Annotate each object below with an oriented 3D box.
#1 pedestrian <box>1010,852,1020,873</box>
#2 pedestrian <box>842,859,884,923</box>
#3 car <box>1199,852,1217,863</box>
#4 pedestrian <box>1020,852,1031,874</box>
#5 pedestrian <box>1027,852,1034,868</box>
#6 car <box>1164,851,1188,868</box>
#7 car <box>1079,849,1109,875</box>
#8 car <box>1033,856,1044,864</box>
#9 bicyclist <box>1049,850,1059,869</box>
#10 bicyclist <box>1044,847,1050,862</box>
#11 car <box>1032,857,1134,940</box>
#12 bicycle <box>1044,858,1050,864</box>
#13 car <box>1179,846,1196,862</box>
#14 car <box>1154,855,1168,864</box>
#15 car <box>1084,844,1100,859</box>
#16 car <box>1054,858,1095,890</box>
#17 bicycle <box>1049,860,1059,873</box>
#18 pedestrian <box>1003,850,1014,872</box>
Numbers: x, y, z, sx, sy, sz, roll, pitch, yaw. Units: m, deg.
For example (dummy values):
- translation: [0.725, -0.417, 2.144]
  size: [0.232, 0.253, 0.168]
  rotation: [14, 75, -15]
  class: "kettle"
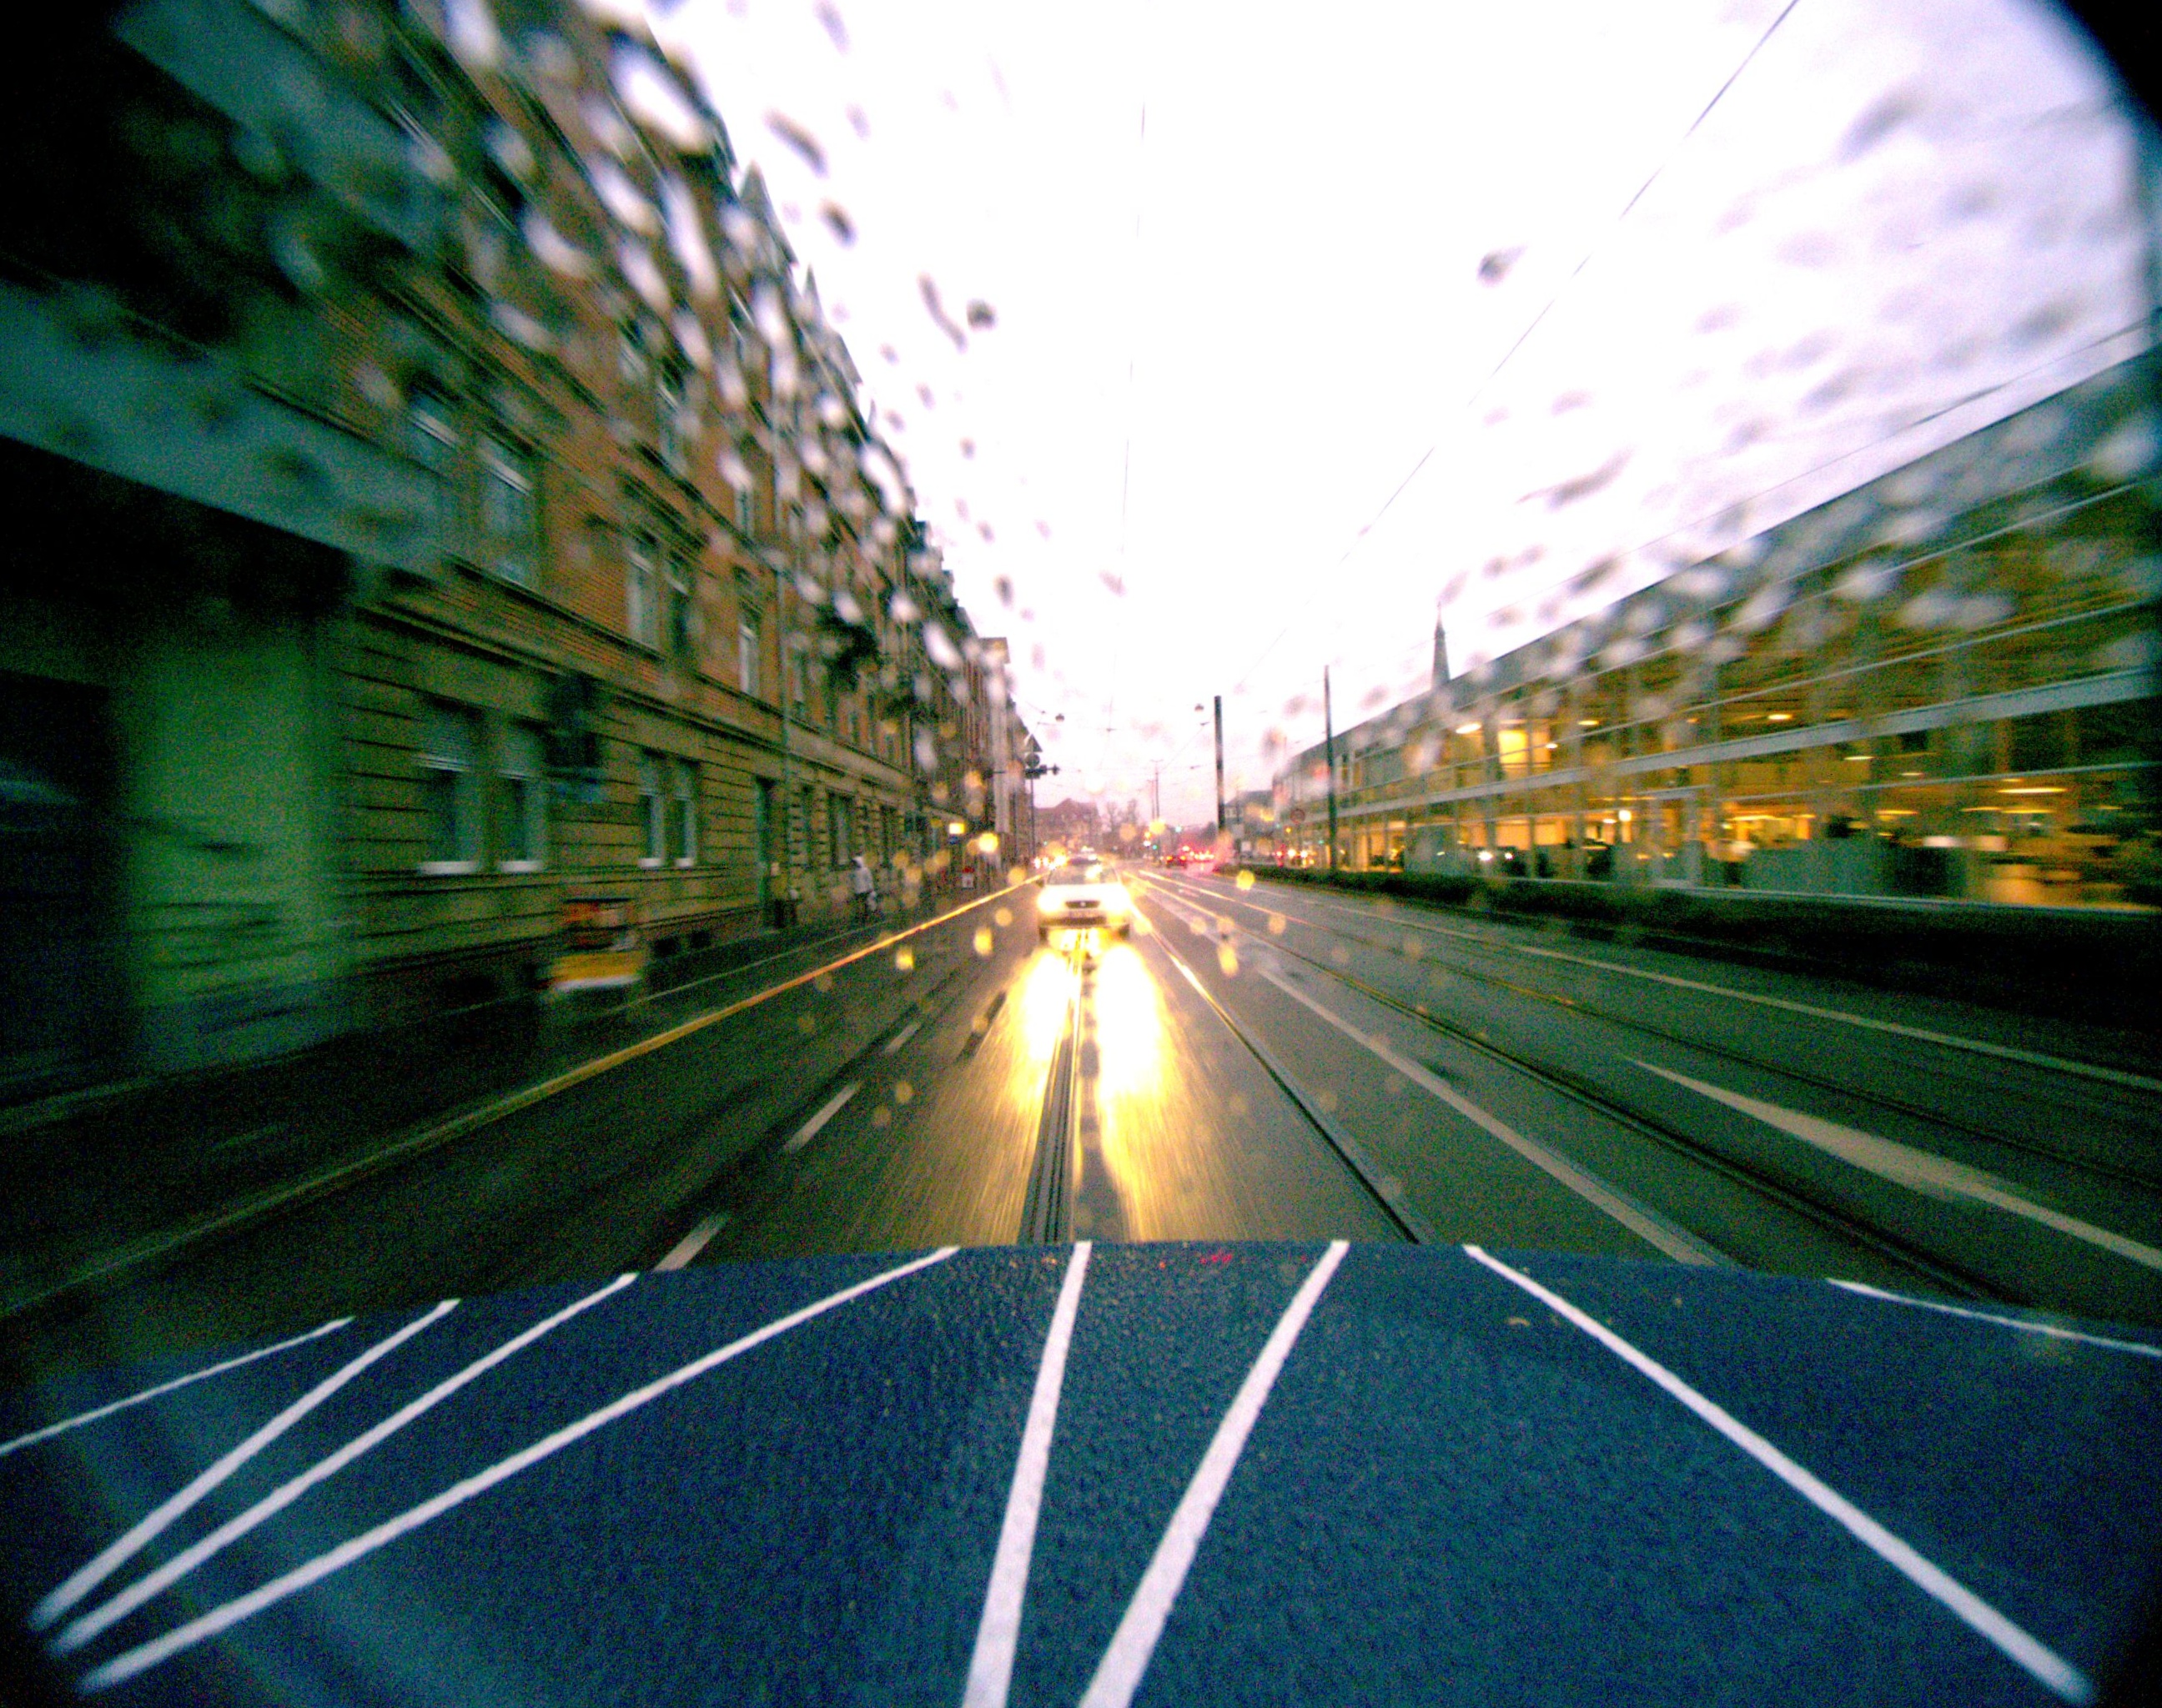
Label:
- translation: [-5.530, 0.741, 63.524]
  size: [0.777, 1.734, 0.673]
  rotation: [-1, 1, 1]
  class: "pedestrian"
- translation: [-5.614, 0.931, 19.593]
  size: [0.788, 1.588, 0.742]
  rotation: [-2, 1, 4]
  class: "pedestrian"
- translation: [17.906, 0.490, 107.039]
  size: [1.998, 1.413, 4.588]
  rotation: [-2, 0, 4]
  class: "car"
- translation: [-4.560, 0.727, 62.148]
  size: [0.777, 1.734, 0.673]
  rotation: [-1, 1, 1]
  class: "pedestrian"
- translation: [-4.952, 0.565, 75.026]
  size: [0.633, 1.539, 0.710]
  rotation: [-2, 1, -5]
  class: "pedestrian"
- translation: [9.174, 0.475, 73.611]
  size: [1.845, 1.569, 4.442]
  rotation: [-2, 0, 2]
  class: "car"
- translation: [0.792, 0.484, 49.143]
  size: [1.824, 1.565, 3.999]
  rotation: [-2, 0, 0]
  class: "car"
- translation: [-8.371, 1.109, 149.461]
  size: [1.829, 1.499, 3.801]
  rotation: [-2, 0, -9]
  class: "car"
- translation: [-2.258, 0.445, 62.799]
  size: [0.727, 1.525, 0.785]
  rotation: [-2, 1, 0]
  class: "bicyclist"
- translation: [-4.507, 0.048, 99.722]
  size: [0.747, 1.869, 1.111]
  rotation: [-2, 1, -1]
  class: "bicyclist"
- translation: [0.124, 0.826, 15.829]
  size: [1.797, 1.415, 4.000]
  rotation: [-2, 0, 3]
  class: "car"
- translation: [-4.460, 0.924, 99.754]
  size: [0.609, 0.757, 1.860]
  rotation: [-1, 1, -1]
  class: "bicycle"
- translation: [14.313, -0.080, 102.277]
  size: [1.998, 2.002, 4.685]
  rotation: [-2, 1, 4]
  class: "car"
- translation: [11.713, 0.787, 111.137]
  size: [1.876, 1.382, 4.001]
  rotation: [0, 1, 4]
  class: "car"
- translation: [1.426, -0.339, 101.332]
  size: [2.018, 1.809, 3.688]
  rotation: [-2, 1, 1]
  class: "car"
- translation: [-0.276, 0.953, 38.401]
  size: [1.797, 1.415, 4.000]
  rotation: [-2, 0, 3]
  class: "car"
- translation: [-2.244, 1.050, 62.765]
  size: [0.725, 0.985, 2.212]
  rotation: [-2, 0, 0]
  class: "bicycle"
- translation: [-5.860, 0.545, 61.221]
  size: [0.777, 1.734, 0.673]
  rotation: [-1, 1, 1]
  class: "pedestrian"
